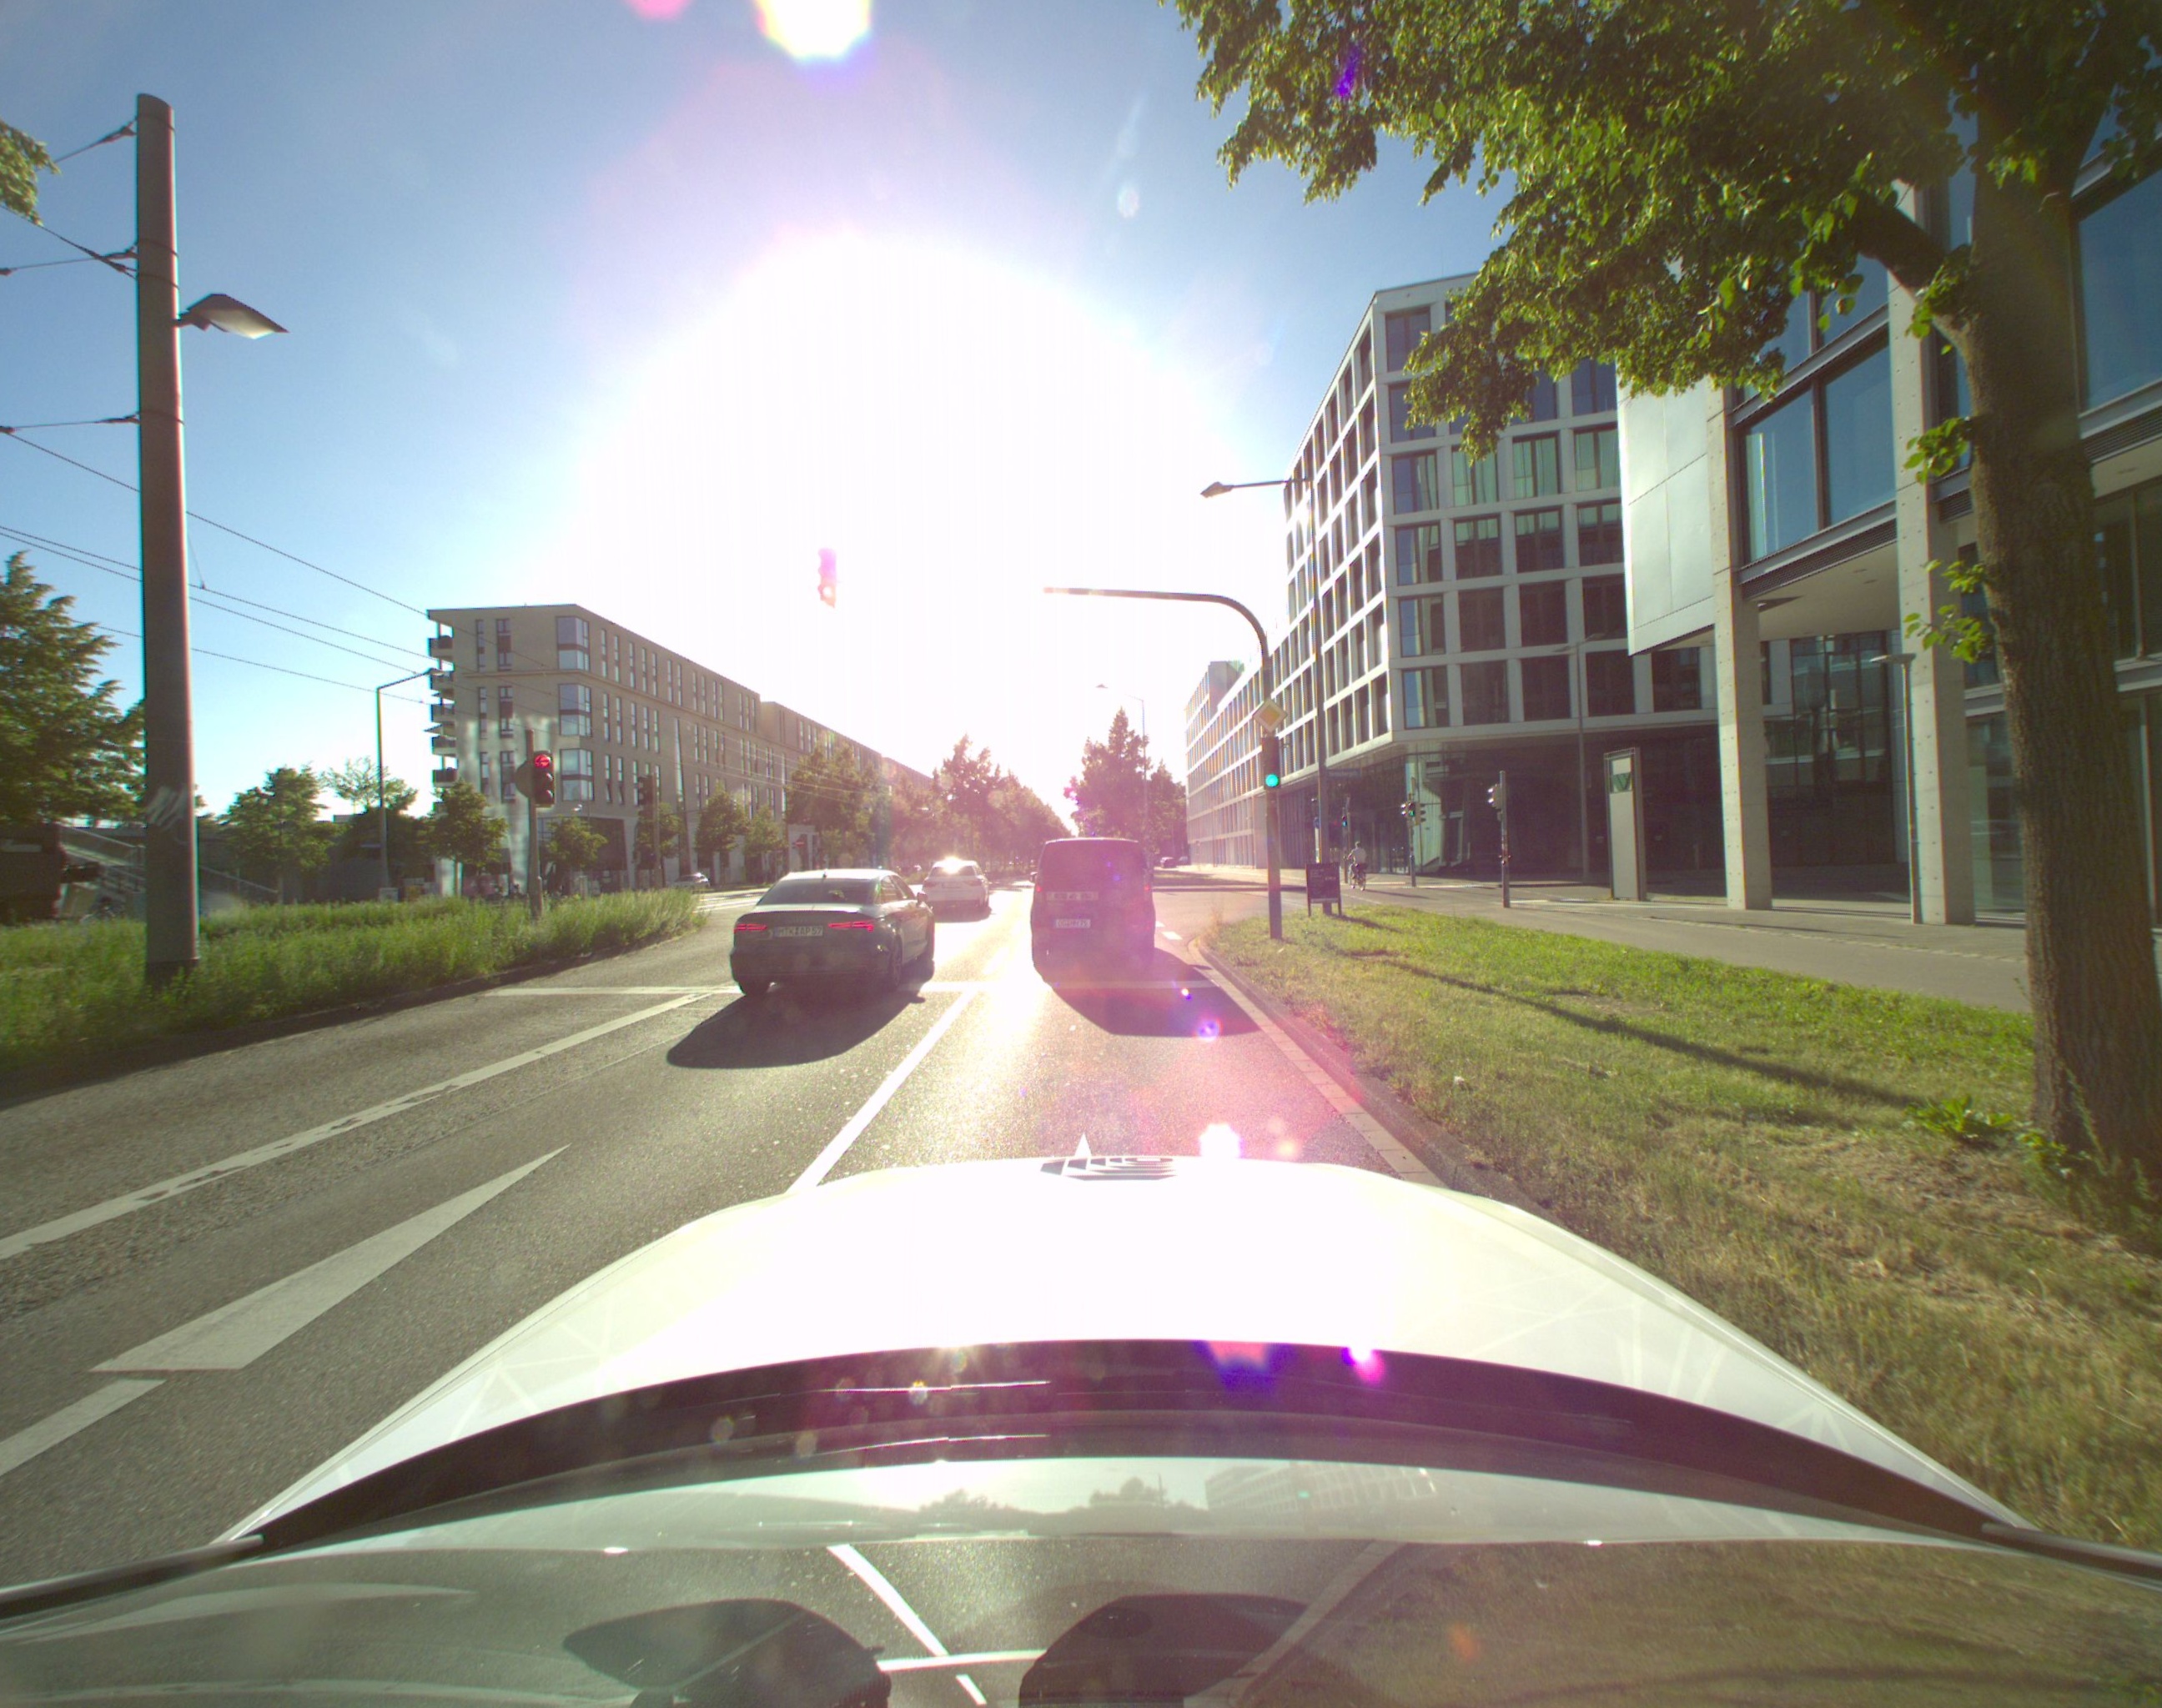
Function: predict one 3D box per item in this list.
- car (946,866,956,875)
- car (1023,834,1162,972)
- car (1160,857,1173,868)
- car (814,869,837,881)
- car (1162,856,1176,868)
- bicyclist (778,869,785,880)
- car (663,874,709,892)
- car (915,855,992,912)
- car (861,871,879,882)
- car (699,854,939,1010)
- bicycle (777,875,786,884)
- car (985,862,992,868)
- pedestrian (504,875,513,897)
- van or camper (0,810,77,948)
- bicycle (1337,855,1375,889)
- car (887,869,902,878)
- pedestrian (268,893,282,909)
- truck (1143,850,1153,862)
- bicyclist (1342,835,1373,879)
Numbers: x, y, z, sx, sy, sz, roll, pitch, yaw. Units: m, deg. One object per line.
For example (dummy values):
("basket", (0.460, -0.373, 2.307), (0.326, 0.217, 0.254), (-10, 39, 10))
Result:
("car", (-30.137, 3.757, 188.602), (1.724, 2.013, 3.998), (-2, 0, -1))
("car", (0.229, 0.668, 13.024), (1.801, 1.794, 4.115), (-2, 0, 2))
("car", (12.804, 1.225, 122.138), (1.811, 1.532, 3.441), (-2, -1, 4))
("car", (-31.668, 2.556, 101.006), (1.575, 1.342, 3.712), (-2, -1, 1))
("car", (12.568, 1.183, 116.936), (1.751, 1.611, 3.905), (-2, 0, 2))
("bicyclist", (-37.071, 2.560, 100.689), (0.577, 1.293, 0.704), (-1, -1, -4))
("car", (-32.860, 2.367, 67.949), (1.575, 1.342, 4.472), (-2, -1, 1))
("car", (-3.595, 0.791, 23.665), (1.804, 1.434, 4.107), (-2, 0, -4))
("car", (-32.680, 3.438, 126.180), (1.770, 1.528, 3.806), (-2, -1, 1))
("car", (-3.036, 0.805, 10.412), (1.803, 1.527, 4.109), (-2, 0, -2))
("bicycle", (-37.061, 3.146, 100.669), (0.527, 1.111, 1.636), (-1, -1, -2))
("car", (-28.976, 3.409, 255.145), (1.750, 1.574, 4.000), (-2, -1, 1))
("pedestrian", (-46.896, 2.642, 66.690), (0.603, 1.771, 0.665), (-1, -1, -35))
("van or camper", (-34.377, 0.787, 21.520), (2.743, 4.192, 10.232), (-2, -1, 1))
("bicycle", (9.973, 0.632, 29.602), (0.739, 1.174, 1.961), (-2, 0, 1))
("car", (-31.741, 3.341, 138.818), (1.575, 1.342, 3.712), (-2, -1, 1))
("pedestrian", (-59.804, 3.494, 60.403), (0.437, 1.125, 0.600), (-1, -1, 3))
("truck", (15.433, 0.502, 187.779), (1.825, 2.501, 5.932), (-2, -1, 1))
("bicyclist", (9.968, 0.092, 29.385), (0.769, 1.531, 0.850), (-3, 0, 1))
